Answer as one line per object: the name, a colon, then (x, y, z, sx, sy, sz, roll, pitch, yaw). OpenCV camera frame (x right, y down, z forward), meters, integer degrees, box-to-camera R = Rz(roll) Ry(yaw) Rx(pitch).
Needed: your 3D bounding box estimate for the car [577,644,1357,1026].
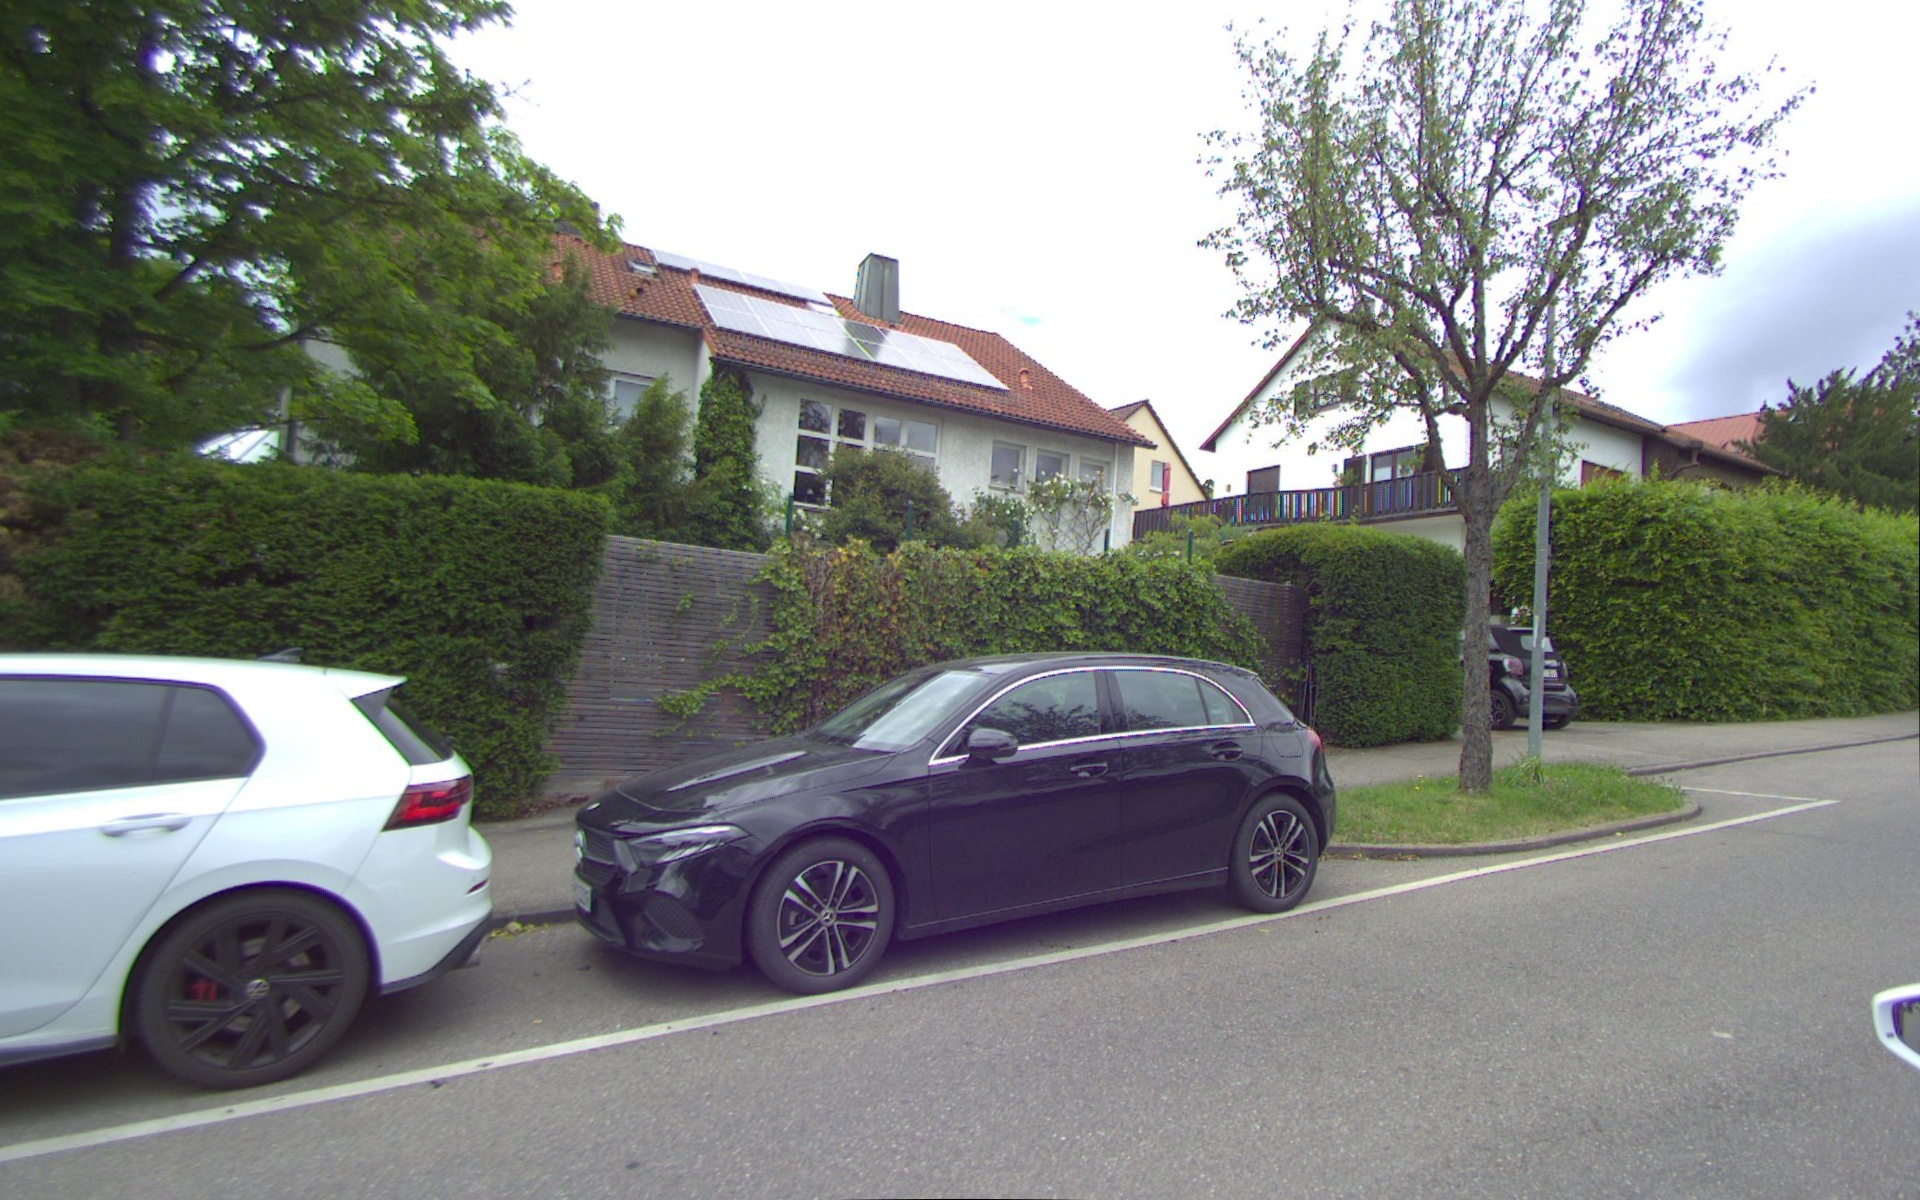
car: (0.143, 0.993, 5.591, 4.031, 1.442, 1.720, 2, -4, -30)

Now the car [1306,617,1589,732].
car: (7.833, 1.104, 16.548, 1.764, 1.554, 3.974, 1, 0, -25)

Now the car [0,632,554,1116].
car: (-3.874, 0.851, 3.480, 4.357, 1.441, 1.829, 1, -4, -31)
